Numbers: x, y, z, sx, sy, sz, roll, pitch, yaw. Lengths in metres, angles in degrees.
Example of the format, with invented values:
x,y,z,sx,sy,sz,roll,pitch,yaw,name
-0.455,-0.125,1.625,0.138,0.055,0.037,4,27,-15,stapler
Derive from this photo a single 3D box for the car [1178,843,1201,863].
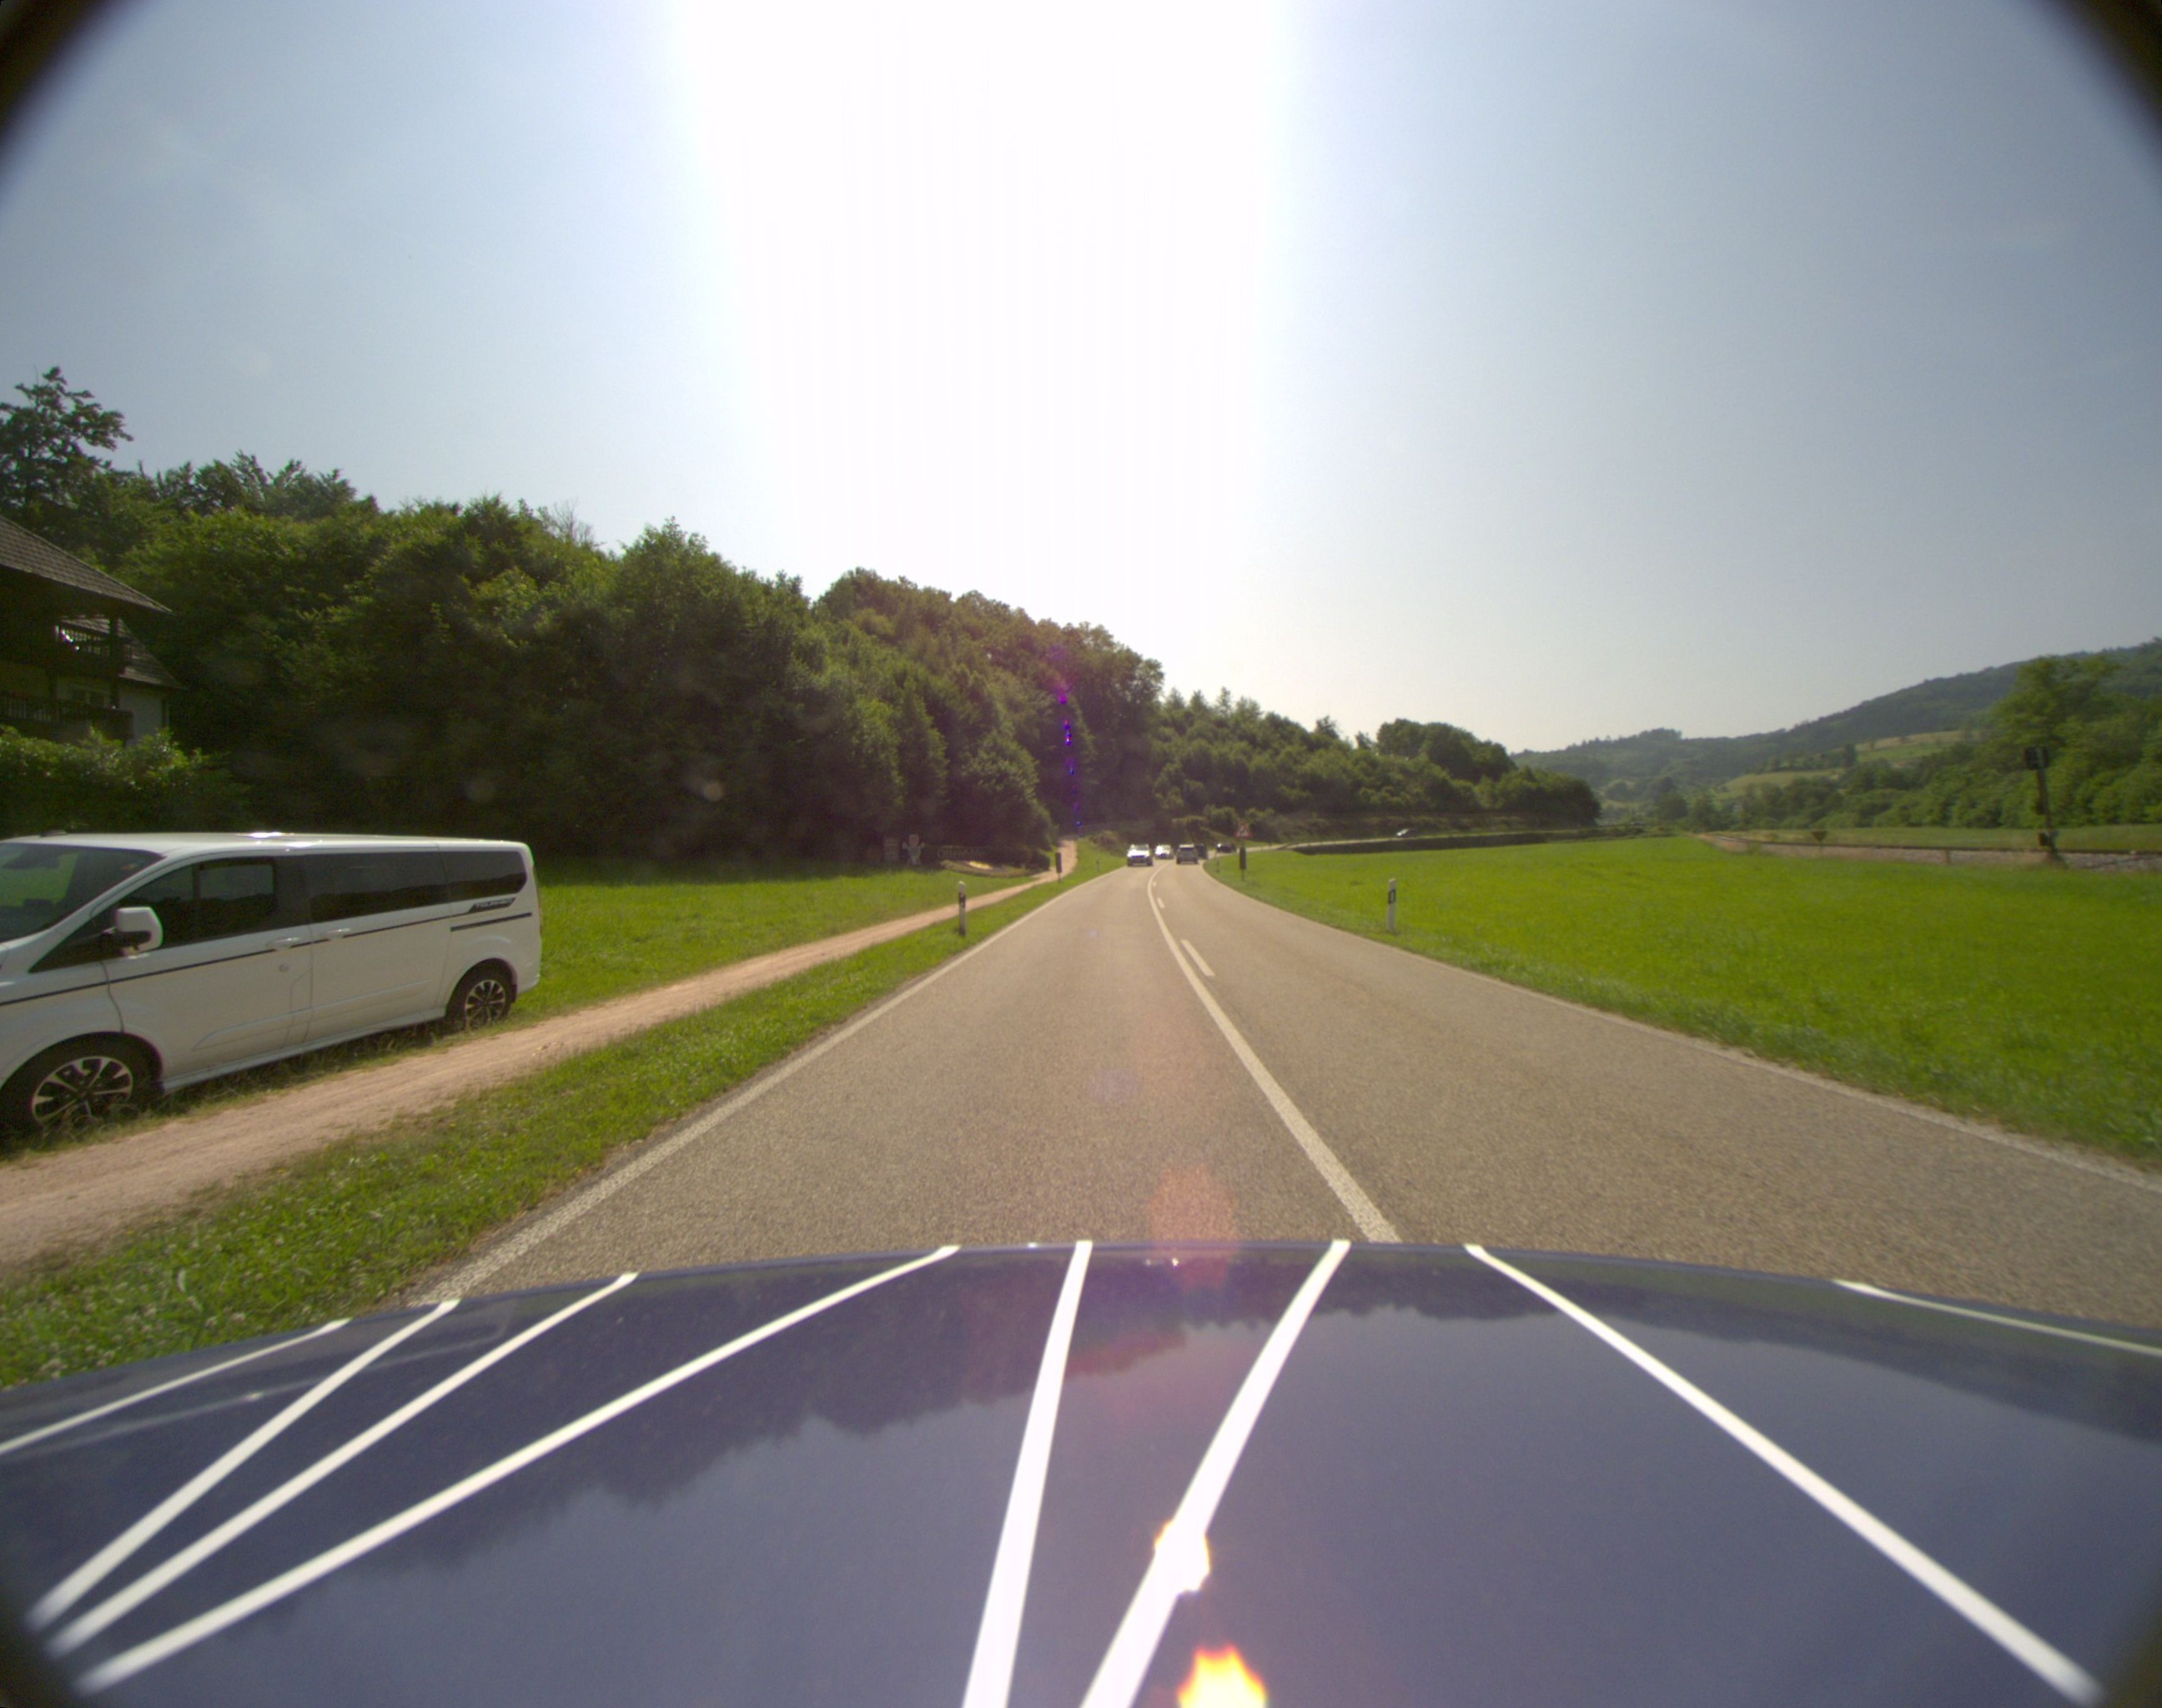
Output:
x,y,z,sx,sy,sz,roll,pitch,yaw,name
9.663,-0.126,67.447,1.919,1.704,4.162,-1,0,9,car

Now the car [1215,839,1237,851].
x,y,z,sx,sy,sz,roll,pitch,yaw,name
19.905,-1.244,104.406,1.917,1.462,4.517,1,3,25,car

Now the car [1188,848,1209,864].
x,y,z,sx,sy,sz,roll,pitch,yaw,name
12.811,0.228,82.746,1.868,1.614,4.515,-2,0,14,car

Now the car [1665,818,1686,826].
x,y,z,sx,sy,sz,roll,pitch,yaw,name
142.192,-7.661,181.861,4.902,1.730,1.951,-2,2,-25,car

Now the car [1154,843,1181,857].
x,y,z,sx,sy,sz,roll,pitch,yaw,name
9.422,-0.397,82.634,2.143,1.482,4.678,1,0,15,car

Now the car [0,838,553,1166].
x,y,z,sx,sy,sz,roll,pitch,yaw,name
-7.169,0.853,6.209,2.003,1.838,4.870,3,1,4,car

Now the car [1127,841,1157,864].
x,y,z,sx,sy,sz,roll,pitch,yaw,name
5.156,-0.107,63.693,2.116,1.804,4.458,-1,0,9,car
